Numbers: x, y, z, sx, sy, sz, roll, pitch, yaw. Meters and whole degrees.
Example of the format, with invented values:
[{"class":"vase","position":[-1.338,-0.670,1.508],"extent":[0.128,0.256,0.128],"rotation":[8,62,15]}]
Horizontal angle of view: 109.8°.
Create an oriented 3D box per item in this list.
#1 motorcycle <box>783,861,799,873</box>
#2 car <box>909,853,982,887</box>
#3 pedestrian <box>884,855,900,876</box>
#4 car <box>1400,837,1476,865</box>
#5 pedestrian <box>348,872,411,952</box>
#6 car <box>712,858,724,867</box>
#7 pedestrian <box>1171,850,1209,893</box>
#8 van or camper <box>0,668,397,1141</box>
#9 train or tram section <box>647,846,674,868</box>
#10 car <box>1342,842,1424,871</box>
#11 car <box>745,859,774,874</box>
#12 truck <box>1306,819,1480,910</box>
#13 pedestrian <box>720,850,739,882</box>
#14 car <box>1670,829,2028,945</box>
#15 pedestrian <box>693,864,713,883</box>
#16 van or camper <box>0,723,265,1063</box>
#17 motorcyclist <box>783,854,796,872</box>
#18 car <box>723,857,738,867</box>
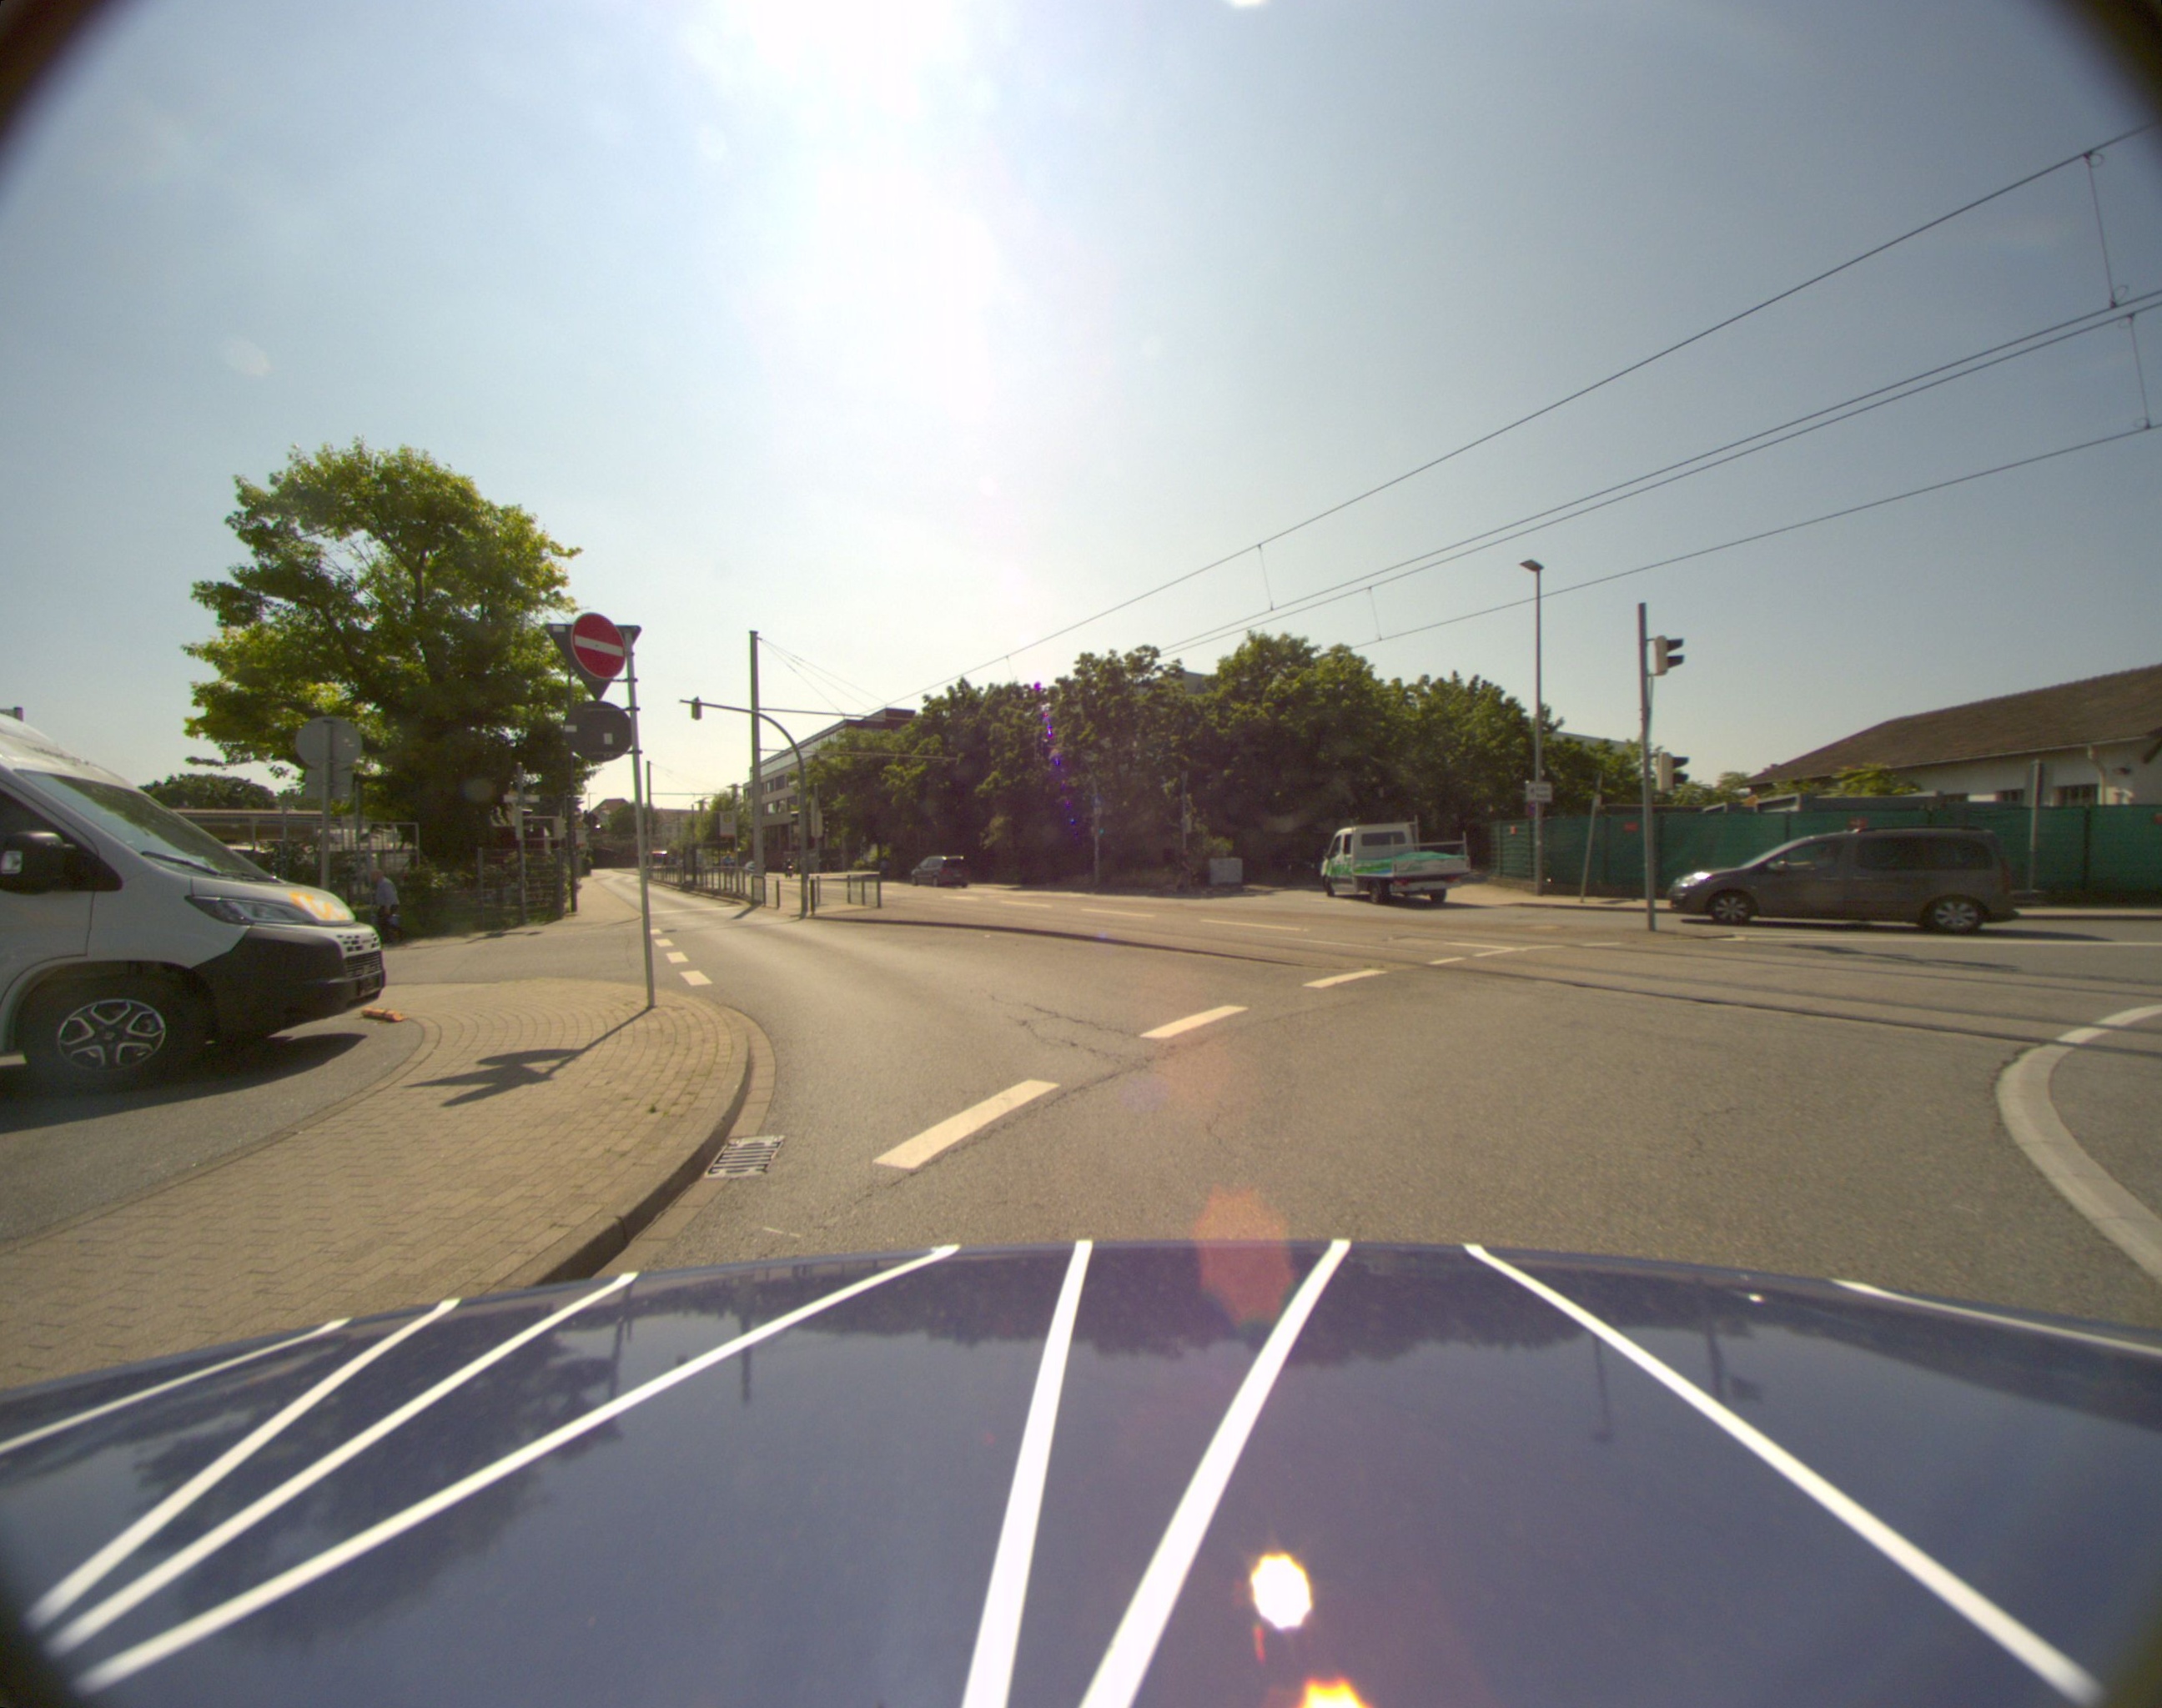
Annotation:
[{"class":"motorcycle","position":[-25.160,1.138,65.845],"extent":[0.826,1.005,1.959],"rotation":[-2,1,-35]},{"class":"car","position":[-7.168,0.801,39.842],"extent":[1.937,1.574,4.179],"rotation":[2,0,-38]},{"class":"pedestrian","position":[-13.836,0.867,55.609],"extent":[0.875,1.518,0.844],"rotation":[-1,0,-35]},{"class":"car","position":[21.678,-0.189,46.295],"extent":[1.629,1.628,3.856],"rotation":[-2,1,-40]},{"class":"pedestrian","position":[-15.465,1.249,16.753],"extent":[0.813,1.689,0.889],"rotation":[0,0,38]},{"class":"car","position":[-62.401,1.447,130.597],"extent":[1.875,1.608,3.991],"rotation":[0,0,-27]},{"class":"pedestrian","position":[4.318,0.692,30.148],"extent":[0.890,1.661,1.157],"rotation":[-2,1,-34]},{"class":"van or camper","position":[-8.192,0.321,4.492],"extent":[5.839,2.757,2.086],"rotation":[-1,-1,-31]},{"class":"train or tram section","position":[-68.914,0.518,124.414],"extent":[2.687,3.464,12.296],"rotation":[-1,0,-35]},{"class":"car","position":[16.277,0.144,40.966],"extent":[3.856,1.458,1.629],"rotation":[-1,1,32]},{"class":"car","position":[-33.642,1.294,79.343],"extent":[1.917,1.433,4.583],"rotation":[1,-1,-34]},{"class":"truck","position":[9.155,0.239,23.140],"extent":[2.209,2.324,6.386],"rotation":[-2,1,-4]},{"class":"pedestrian","position":[-19.320,0.646,41.794],"extent":[0.727,1.715,0.942],"rotation":[-3,1,-34]},{"class":"car","position":[13.635,0.515,13.962],"extent":[4.396,1.808,1.994],"rotation":[-1,1,39]},{"class":"pedestrian","position":[-22.262,1.120,44.799],"extent":[0.947,1.093,0.724],"rotation":[-1,0,-34]},{"class":"van or camper","position":[-11.031,0.404,6.206],"extent":[5.532,2.797,2.043],"rotation":[-2,-1,-30]},{"class":"motorcyclist","position":[-25.322,0.787,66.035],"extent":[0.840,1.467,0.960],"rotation":[-2,1,-34]},{"class":"car","position":[-57.590,1.333,124.801],"extent":[2.003,1.613,3.991],"rotation":[0,0,-27]}]
